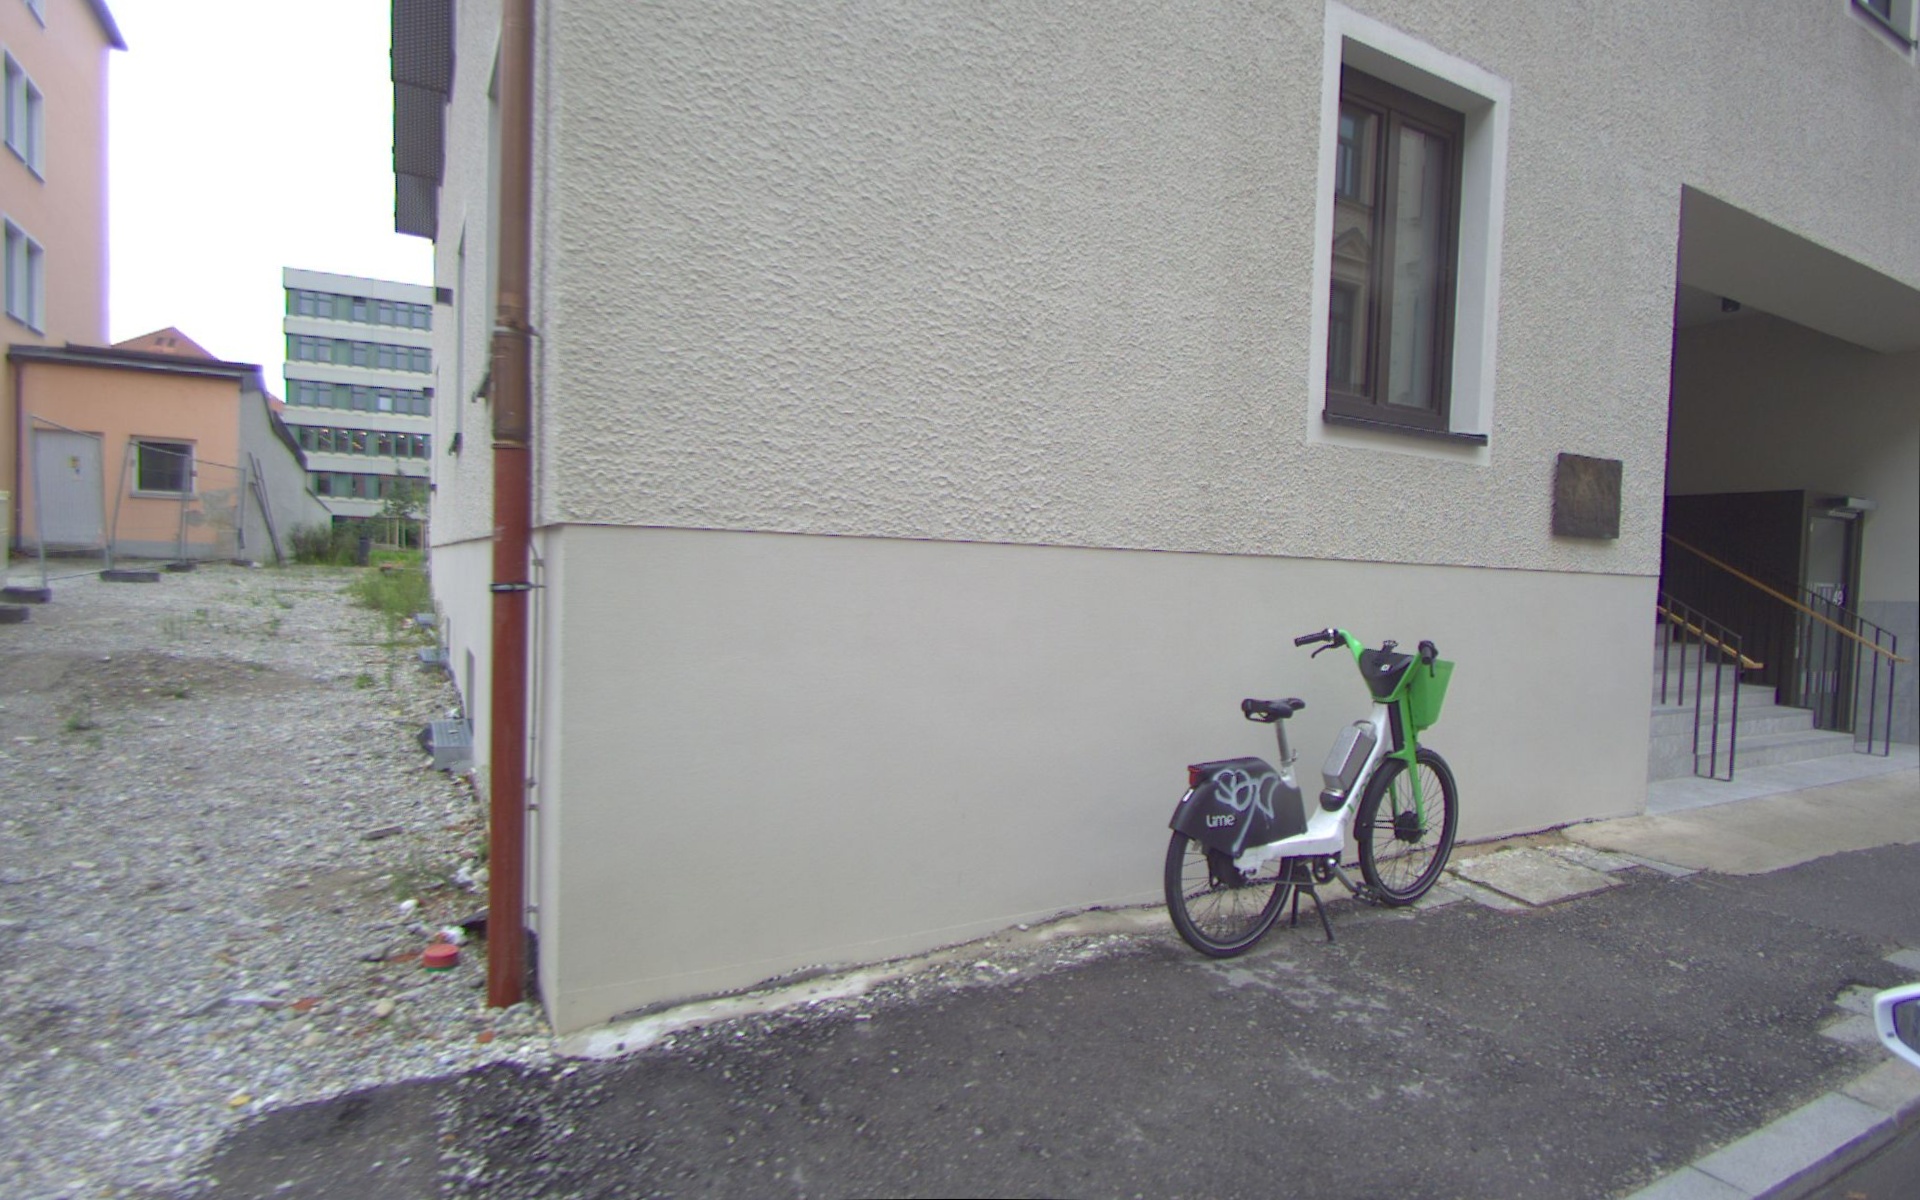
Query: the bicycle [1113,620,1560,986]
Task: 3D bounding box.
[{"bbox_3d":[1.540,0.684,3.973,1.895,1.154,0.535,1,4,-31],"label":"bicycle"}]
